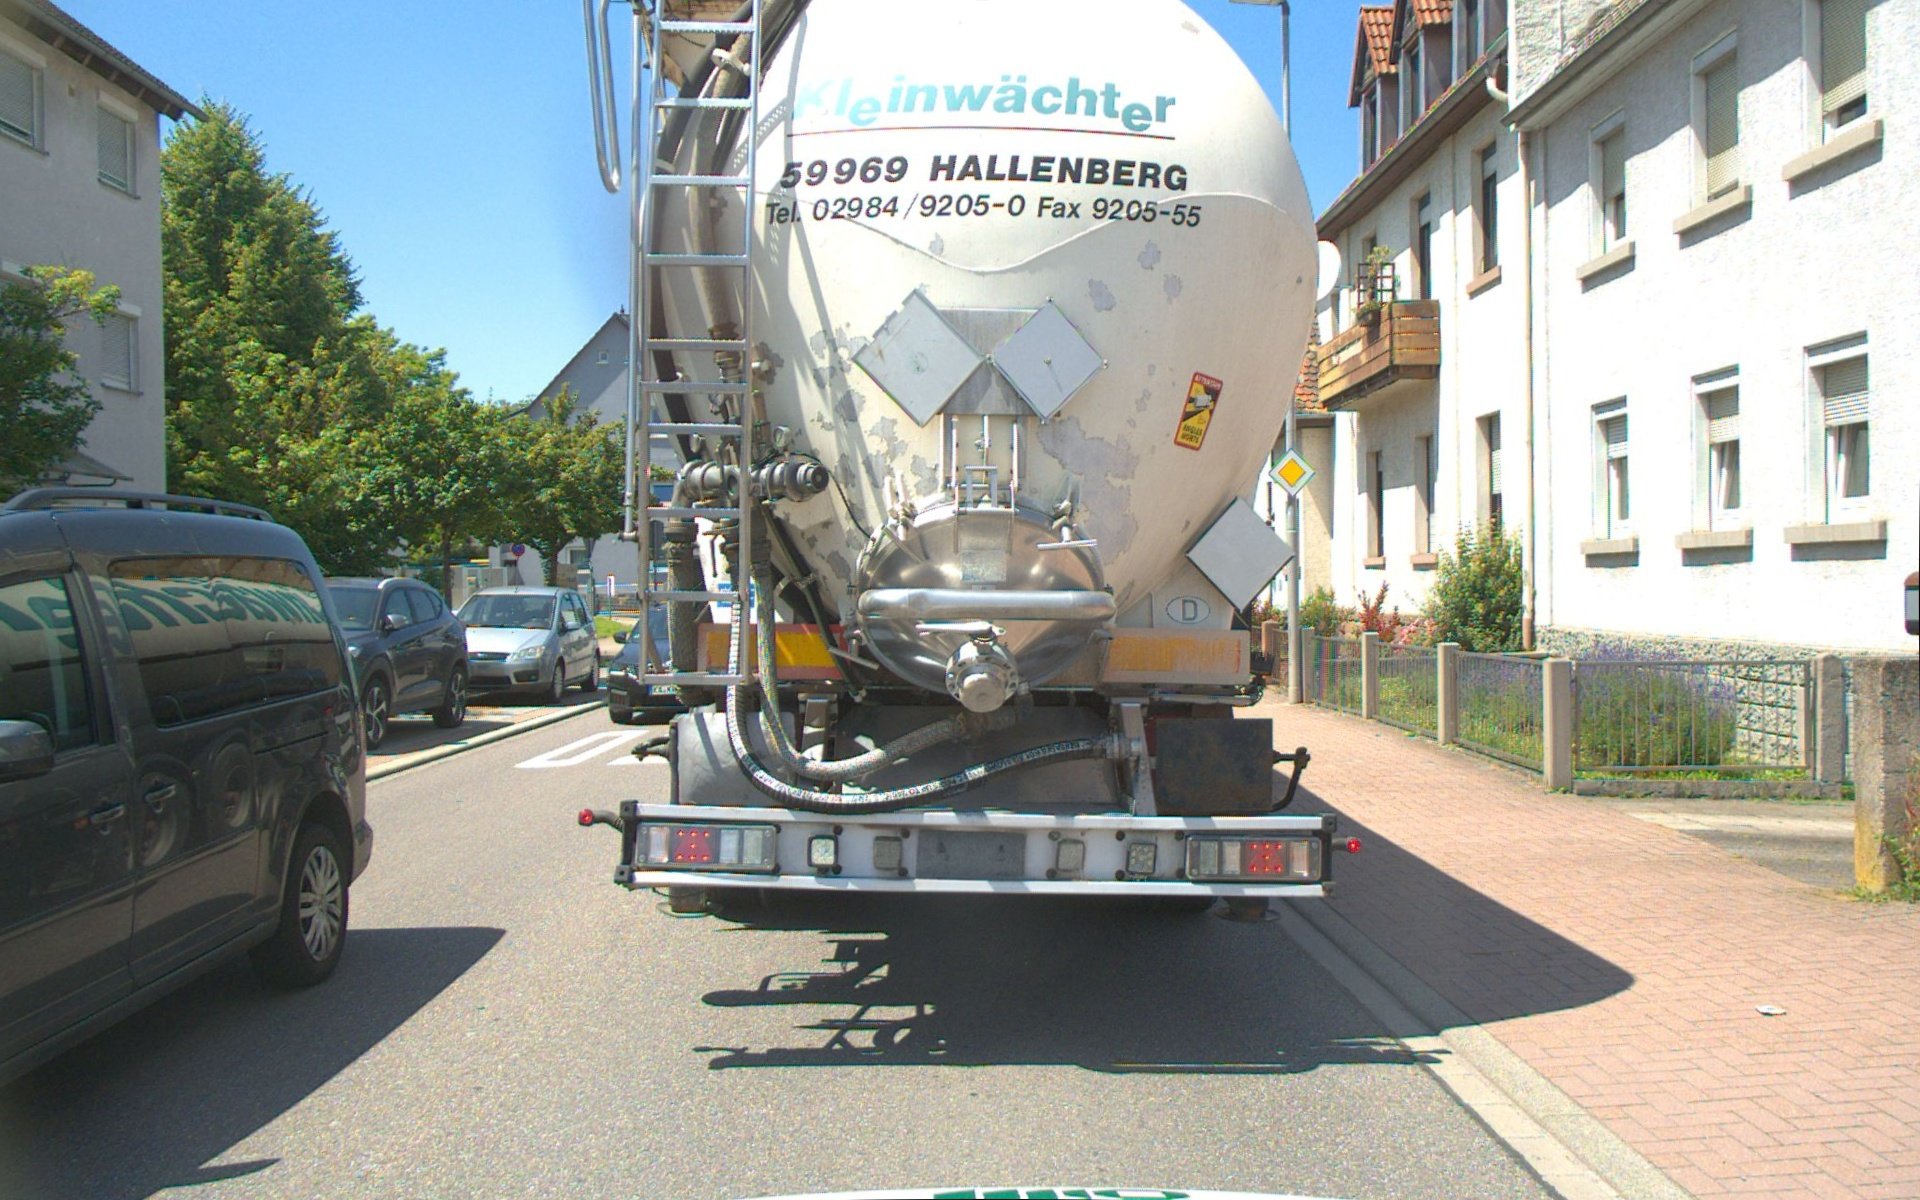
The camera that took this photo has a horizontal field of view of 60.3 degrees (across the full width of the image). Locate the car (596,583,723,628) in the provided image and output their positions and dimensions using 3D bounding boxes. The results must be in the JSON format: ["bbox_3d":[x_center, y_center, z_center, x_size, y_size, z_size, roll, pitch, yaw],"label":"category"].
[{"bbox_3d":[-11.653,0.210,64.254,4.526,1.680,1.742,0,0,7],"label":"car"}]

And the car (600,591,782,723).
[{"bbox_3d":[-3.410,0.661,21.689,1.684,1.472,4.254,-2,1,-1],"label":"car"}]

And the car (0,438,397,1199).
[{"bbox_3d":[-3.217,0.558,4.826,1.622,1.887,4.463,-2,0,-1],"label":"car"}]

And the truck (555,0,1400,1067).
[{"bbox_3d":[0.010,-0.638,9.866,2.587,4.086,9.560,0,0,-1],"label":"truck"}]

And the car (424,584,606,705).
[{"bbox_3d":[-6.337,0.582,23.956,1.663,1.608,3.837,0,0,-2],"label":"car"}]

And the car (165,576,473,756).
[{"bbox_3d":[-6.467,0.597,17.175,1.657,1.648,3.997,0,0,0],"label":"car"}]
